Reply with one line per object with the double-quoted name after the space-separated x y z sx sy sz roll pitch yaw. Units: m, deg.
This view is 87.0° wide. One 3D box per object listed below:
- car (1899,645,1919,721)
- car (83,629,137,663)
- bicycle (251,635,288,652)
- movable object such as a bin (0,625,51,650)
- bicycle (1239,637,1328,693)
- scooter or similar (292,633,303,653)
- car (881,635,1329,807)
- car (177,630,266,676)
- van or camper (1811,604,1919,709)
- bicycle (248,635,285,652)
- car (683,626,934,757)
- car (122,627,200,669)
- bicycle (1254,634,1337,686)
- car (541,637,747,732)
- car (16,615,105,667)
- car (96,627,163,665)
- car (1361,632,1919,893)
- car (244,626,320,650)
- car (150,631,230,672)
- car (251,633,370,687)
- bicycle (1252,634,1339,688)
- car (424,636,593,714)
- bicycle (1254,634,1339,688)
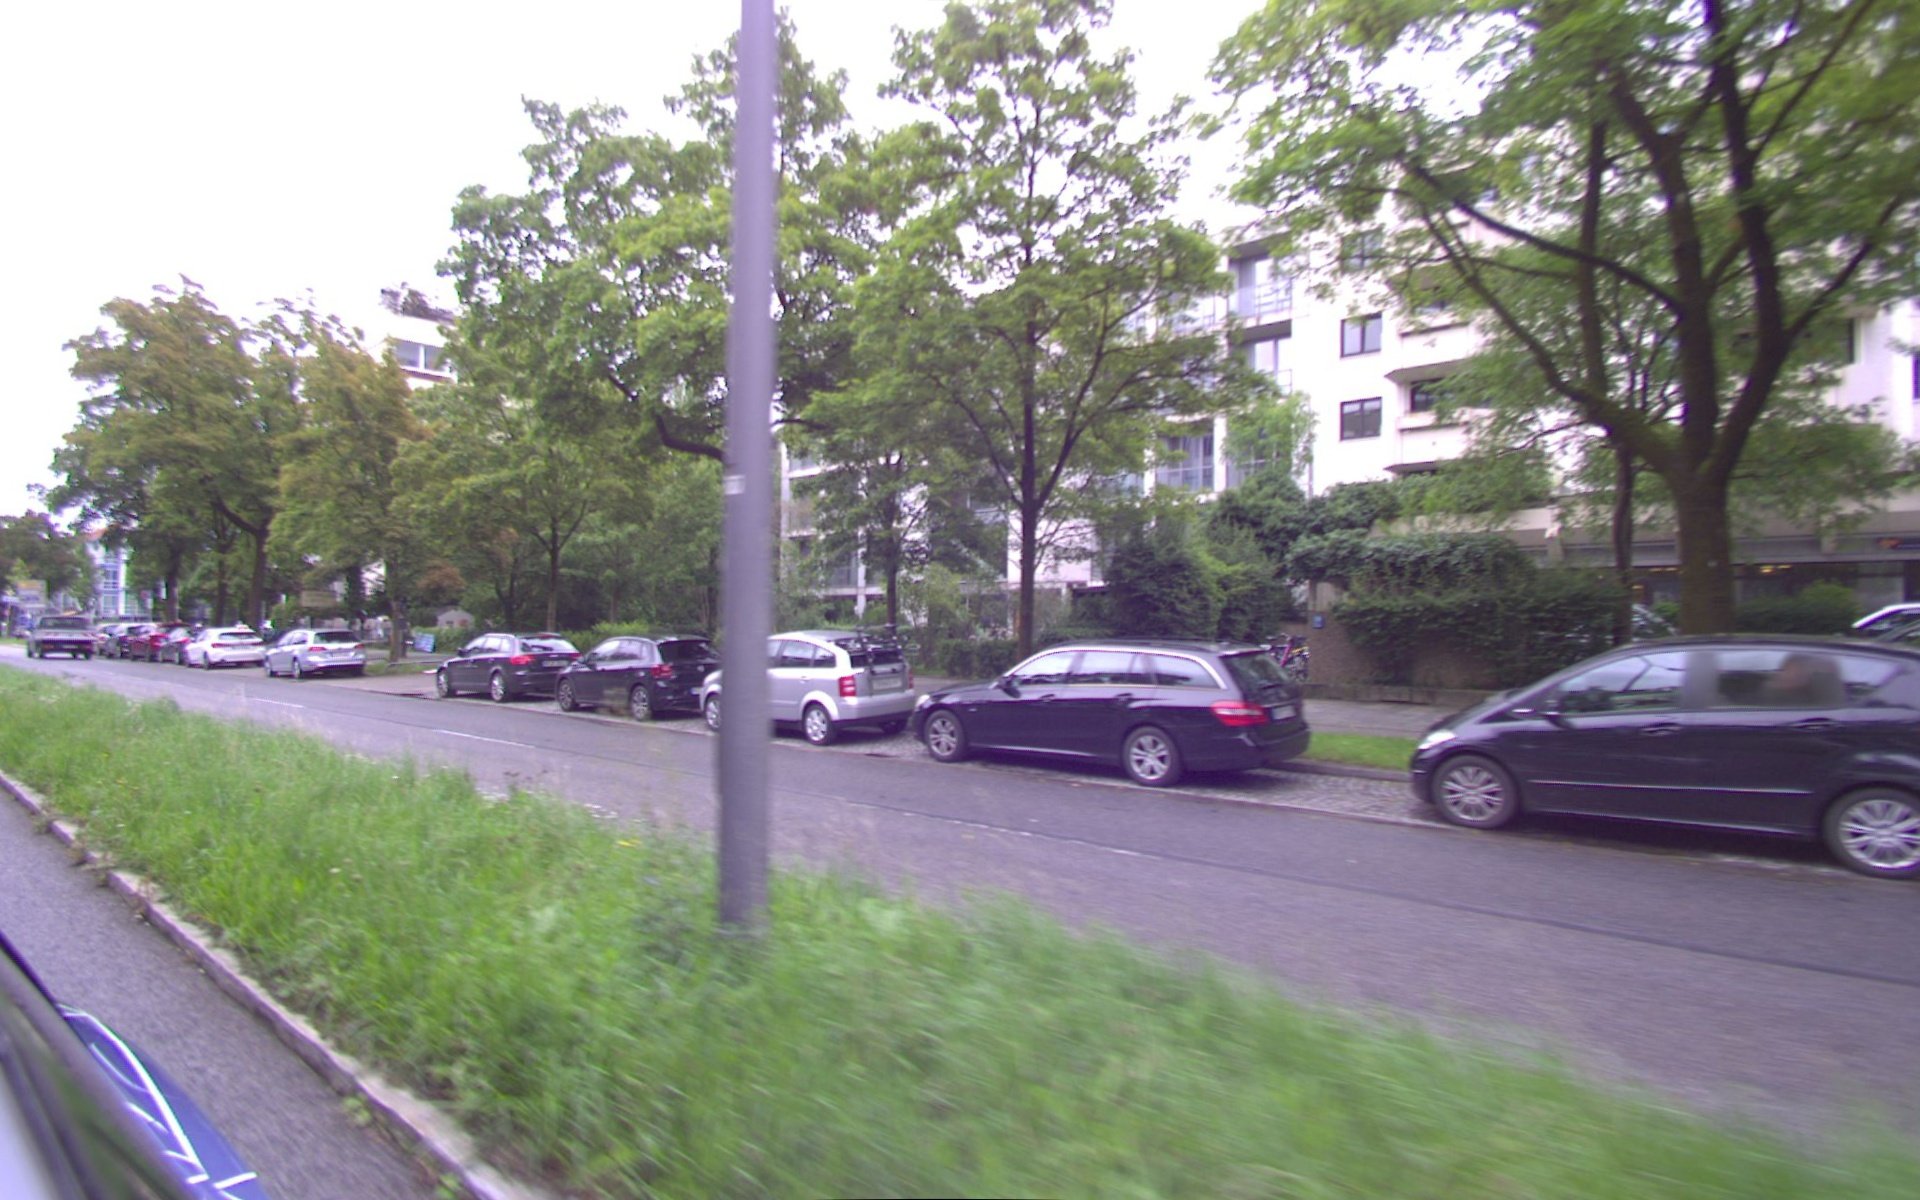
16.881 1.322 15.848 3.126 1.209 1.440 -2 -3 42 "car"
-43.073 2.280 51.259 3.818 1.626 1.629 -2 -2 43 "car"
-41.045 2.581 60.208 0.436 1.014 1.744 -2 -3 40 "bicycle"
-75.270 2.994 81.489 3.991 1.968 2.174 -1 -3 35 "movable object such as a bin"
7.357 1.477 23.055 1.837 1.236 0.531 0 -2 4 "bicycle"
-37.065 2.402 56.596 0.429 1.135 1.292 2 -3 -36 "scooter or similar"
1.474 1.215 11.798 5.031 1.536 1.698 -2 0 41 "car"
-27.108 1.896 37.083 4.473 1.541 1.721 -2 -1 41 "car"
18.404 1.024 18.383 4.429 1.885 1.837 -2 -3 42 "van or camper"
-41.495 2.610 60.593 0.436 1.014 1.744 -2 -3 40 "bicycle"
-2.367 1.254 15.219 3.866 1.660 1.608 -2 0 42 "car"
-34.499 2.024 43.643 4.602 1.664 1.722 -2 -1 39 "car"
8.205 1.468 24.785 1.839 1.236 0.530 0 -2 8 "bicycle"
-5.768 1.432 18.221 4.191 1.434 1.608 -2 0 42 "car"
-41.277 1.882 46.404 5.795 2.211 2.186 -1 -4 41 "car"
-39.046 2.130 47.544 4.682 1.656 1.720 -2 -1 41 "car"
5.639 1.093 8.073 4.209 1.609 1.668 -2 -1 42 "car"
-45.726 2.589 68.341 1.748 1.601 3.944 -2 -3 42 "car"
-30.702 2.011 40.315 4.332 1.494 1.721 -2 -1 41 "car"
-19.759 1.754 30.706 4.819 1.459 1.718 -1 0 41 "car"
7.810 1.418 23.629 1.839 1.236 0.530 0 -2 8 "bicycle"
-9.729 1.530 21.661 4.360 1.434 1.564 -2 0 41 "car"
8.028 1.449 24.192 1.839 1.236 0.530 0 -2 8 "bicycle"
